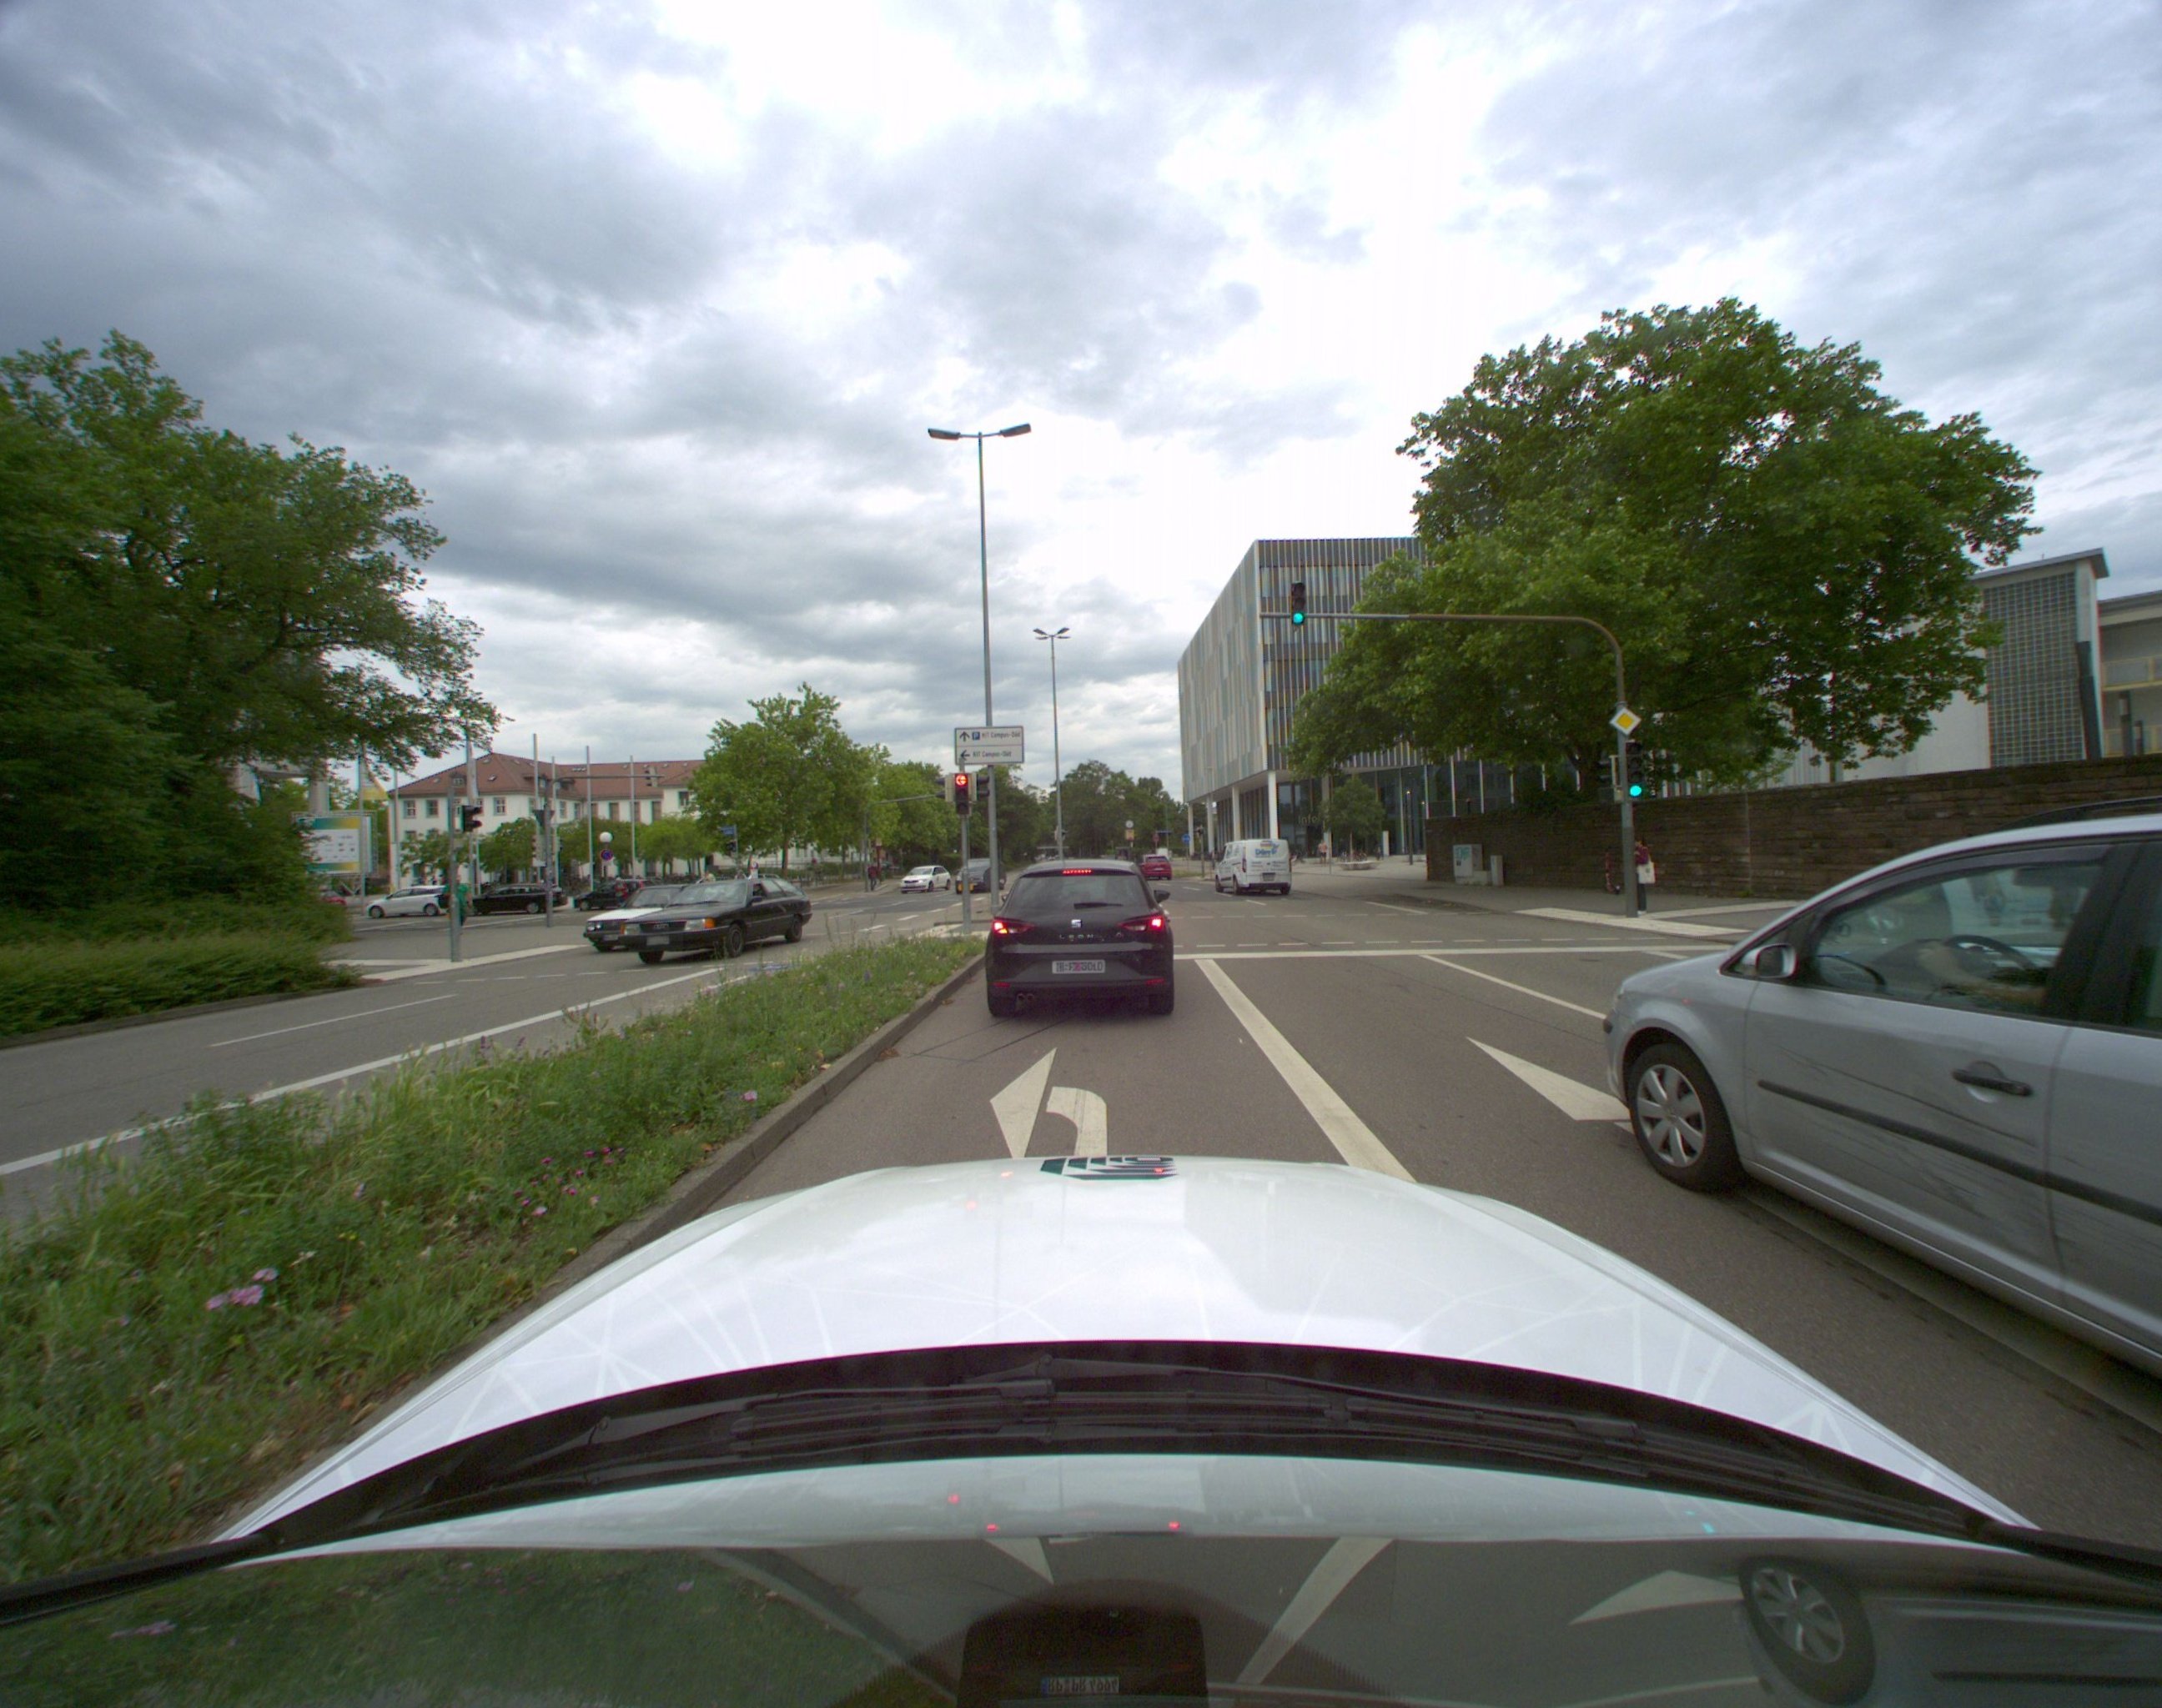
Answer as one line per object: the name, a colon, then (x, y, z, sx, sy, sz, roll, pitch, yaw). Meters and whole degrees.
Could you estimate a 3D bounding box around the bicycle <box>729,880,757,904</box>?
bicycle: (-16.080, 1.794, 38.789, 0.664, 1.062, 1.619, -1, -1, 1)

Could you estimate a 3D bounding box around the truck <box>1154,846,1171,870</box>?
truck: (8.023, 0.392, 80.271, 1.313, 2.243, 3.403, -4, 0, 2)

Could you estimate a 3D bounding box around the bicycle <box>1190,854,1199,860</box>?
bicycle: (15.462, 0.443, 110.874, 1.239, 0.823, 0.479, 0, -1, -20)

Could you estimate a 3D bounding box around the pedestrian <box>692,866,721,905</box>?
pedestrian: (-17.062, 1.445, 37.136, 0.834, 1.740, 0.833, -5, -5, 12)

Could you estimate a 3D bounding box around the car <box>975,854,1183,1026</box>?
car: (0.118, 0.731, 8.780, 1.745, 1.432, 3.774, -1, 0, 4)

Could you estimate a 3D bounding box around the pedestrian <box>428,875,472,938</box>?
pedestrian: (-18.432, 1.510, 23.801, 0.948, 1.759, 0.865, 0, -2, -42)

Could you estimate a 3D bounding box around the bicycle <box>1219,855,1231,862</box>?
bicycle: (16.066, 0.482, 90.866, 1.232, 0.705, 0.490, -4, 0, 10)

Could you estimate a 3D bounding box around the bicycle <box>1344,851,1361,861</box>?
bicycle: (21.475, 0.184, 64.419, 1.535, 0.716, 0.513, -4, 0, -42)

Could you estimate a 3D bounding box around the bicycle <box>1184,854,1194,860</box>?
bicycle: (14.985, 0.464, 112.872, 1.262, 0.848, 0.479, 1, -1, -21)

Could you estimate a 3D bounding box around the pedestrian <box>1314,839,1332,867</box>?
pedestrian: (15.990, -0.078, 53.855, 0.844, 1.765, 0.768, -4, 0, 1)

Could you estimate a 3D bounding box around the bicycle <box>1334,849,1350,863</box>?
bicycle: (20.868, 0.160, 65.126, 0.688, 0.946, 1.997, -3, 0, 32)

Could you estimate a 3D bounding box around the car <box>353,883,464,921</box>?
car: (-32.809, 2.334, 39.820, 3.868, 1.539, 1.685, -2, 2, -2)

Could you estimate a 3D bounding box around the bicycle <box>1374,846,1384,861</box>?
bicycle: (22.817, -0.038, 62.414, 0.616, 1.056, 1.959, -4, 0, 22)

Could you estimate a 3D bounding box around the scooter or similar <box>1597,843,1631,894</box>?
scooter or similar: (13.275, 0.335, 20.315, 0.428, 1.179, 1.714, -4, 0, 26)

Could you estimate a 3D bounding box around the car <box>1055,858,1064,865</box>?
car: (-4.642, 1.664, 179.088, 1.692, 1.503, 4.003, -4, 0, -4)

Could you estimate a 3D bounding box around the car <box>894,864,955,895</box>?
car: (-8.614, 1.380, 45.264, 1.693, 1.431, 4.243, -4, 0, 13)

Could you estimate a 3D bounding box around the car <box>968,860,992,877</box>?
car: (-11.297, 1.600, 91.366, 1.899, 1.717, 4.002, -4, 0, 2)

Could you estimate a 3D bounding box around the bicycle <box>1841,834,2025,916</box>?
bicycle: (13.716, 0.311, 13.209, 0.801, 1.174, 1.952, -5, 0, -3)

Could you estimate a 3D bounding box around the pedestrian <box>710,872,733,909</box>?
pedestrian: (-15.897, 1.622, 36.024, 0.791, 1.558, 0.695, -2, -4, -19)

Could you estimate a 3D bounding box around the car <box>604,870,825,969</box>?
car: (-6.769, 1.119, 15.749, 1.756, 1.460, 4.796, -4, -1, 4)

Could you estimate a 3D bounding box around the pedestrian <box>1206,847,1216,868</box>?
pedestrian: (10.122, 0.246, 63.607, 0.684, 1.640, 0.633, -1, 0, 1)

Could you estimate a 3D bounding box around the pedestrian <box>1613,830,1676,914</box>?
pedestrian: (11.165, 0.351, 16.142, 0.657, 1.561, 0.636, -6, 0, 1)

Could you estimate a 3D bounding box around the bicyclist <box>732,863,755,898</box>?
bicyclist: (-16.084, 1.253, 38.813, 0.664, 1.635, 0.961, -1, -1, 0)

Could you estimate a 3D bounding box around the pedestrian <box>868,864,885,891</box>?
pedestrian: (-12.723, 1.445, 50.715, 0.873, 1.586, 0.542, -4, 0, -5)

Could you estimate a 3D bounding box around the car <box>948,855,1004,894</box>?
car: (-5.032, 0.953, 39.581, 1.913, 1.664, 4.401, -4, -1, 2)

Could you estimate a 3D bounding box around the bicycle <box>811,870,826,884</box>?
bicycle: (-20.732, 1.817, 64.386, 0.606, 1.060, 2.041, -4, 0, -4)

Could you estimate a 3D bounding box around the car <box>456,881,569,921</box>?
car: (-27.335, 2.231, 39.324, 4.058, 1.452, 1.615, -3, 5, -16)

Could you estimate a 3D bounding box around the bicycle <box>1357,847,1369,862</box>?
bicycle: (21.944, 0.047, 63.363, 0.802, 1.056, 1.959, -4, 0, 22)

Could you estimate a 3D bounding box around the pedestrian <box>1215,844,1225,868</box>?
pedestrian: (10.877, 0.155, 63.666, 0.684, 1.781, 0.677, -2, 0, 1)

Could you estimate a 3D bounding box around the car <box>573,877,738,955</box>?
car: (-9.611, 1.349, 18.777, 1.601, 1.381, 3.810, -4, 0, 2)

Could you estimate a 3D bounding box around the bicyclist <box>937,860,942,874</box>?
bicyclist: (-15.988, 1.480, 91.935, 0.489, 1.624, 0.588, -1, 1, -1)

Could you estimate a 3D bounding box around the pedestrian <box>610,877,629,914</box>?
pedestrian: (-20.428, 1.842, 36.052, 0.572, 1.526, 0.842, -2, -5, -22)

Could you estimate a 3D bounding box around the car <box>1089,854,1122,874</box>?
car: (2.159, 0.889, 73.393, 1.916, 1.664, 4.096, -4, 0, -13)

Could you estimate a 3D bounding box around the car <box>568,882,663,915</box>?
car: (-22.918, 2.175, 40.195, 3.649, 1.223, 1.562, -2, 7, -5)

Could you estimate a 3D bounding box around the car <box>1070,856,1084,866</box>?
car: (-0.606, 1.063, 120.511, 1.894, 1.354, 3.880, -4, 0, -2)

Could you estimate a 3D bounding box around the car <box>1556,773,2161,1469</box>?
car: (3.347, 0.598, 2.265, 1.723, 1.603, 4.107, -1, 0, 1)

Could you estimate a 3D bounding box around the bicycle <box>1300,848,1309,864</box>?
bicycle: (18.708, 0.175, 68.243, 0.522, 1.253, 1.674, -4, 0, 20)

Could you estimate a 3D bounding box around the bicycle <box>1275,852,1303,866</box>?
bicycle: (15.388, 0.361, 60.125, 1.892, 0.898, 0.693, -4, 0, -19)

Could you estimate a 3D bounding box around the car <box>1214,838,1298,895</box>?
car: (6.407, 0.418, 30.379, 1.962, 1.972, 4.338, 0, 0, -4)

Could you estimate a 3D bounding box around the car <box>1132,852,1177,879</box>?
car: (4.577, 0.683, 50.997, 1.949, 1.624, 3.737, -1, 1, -9)
